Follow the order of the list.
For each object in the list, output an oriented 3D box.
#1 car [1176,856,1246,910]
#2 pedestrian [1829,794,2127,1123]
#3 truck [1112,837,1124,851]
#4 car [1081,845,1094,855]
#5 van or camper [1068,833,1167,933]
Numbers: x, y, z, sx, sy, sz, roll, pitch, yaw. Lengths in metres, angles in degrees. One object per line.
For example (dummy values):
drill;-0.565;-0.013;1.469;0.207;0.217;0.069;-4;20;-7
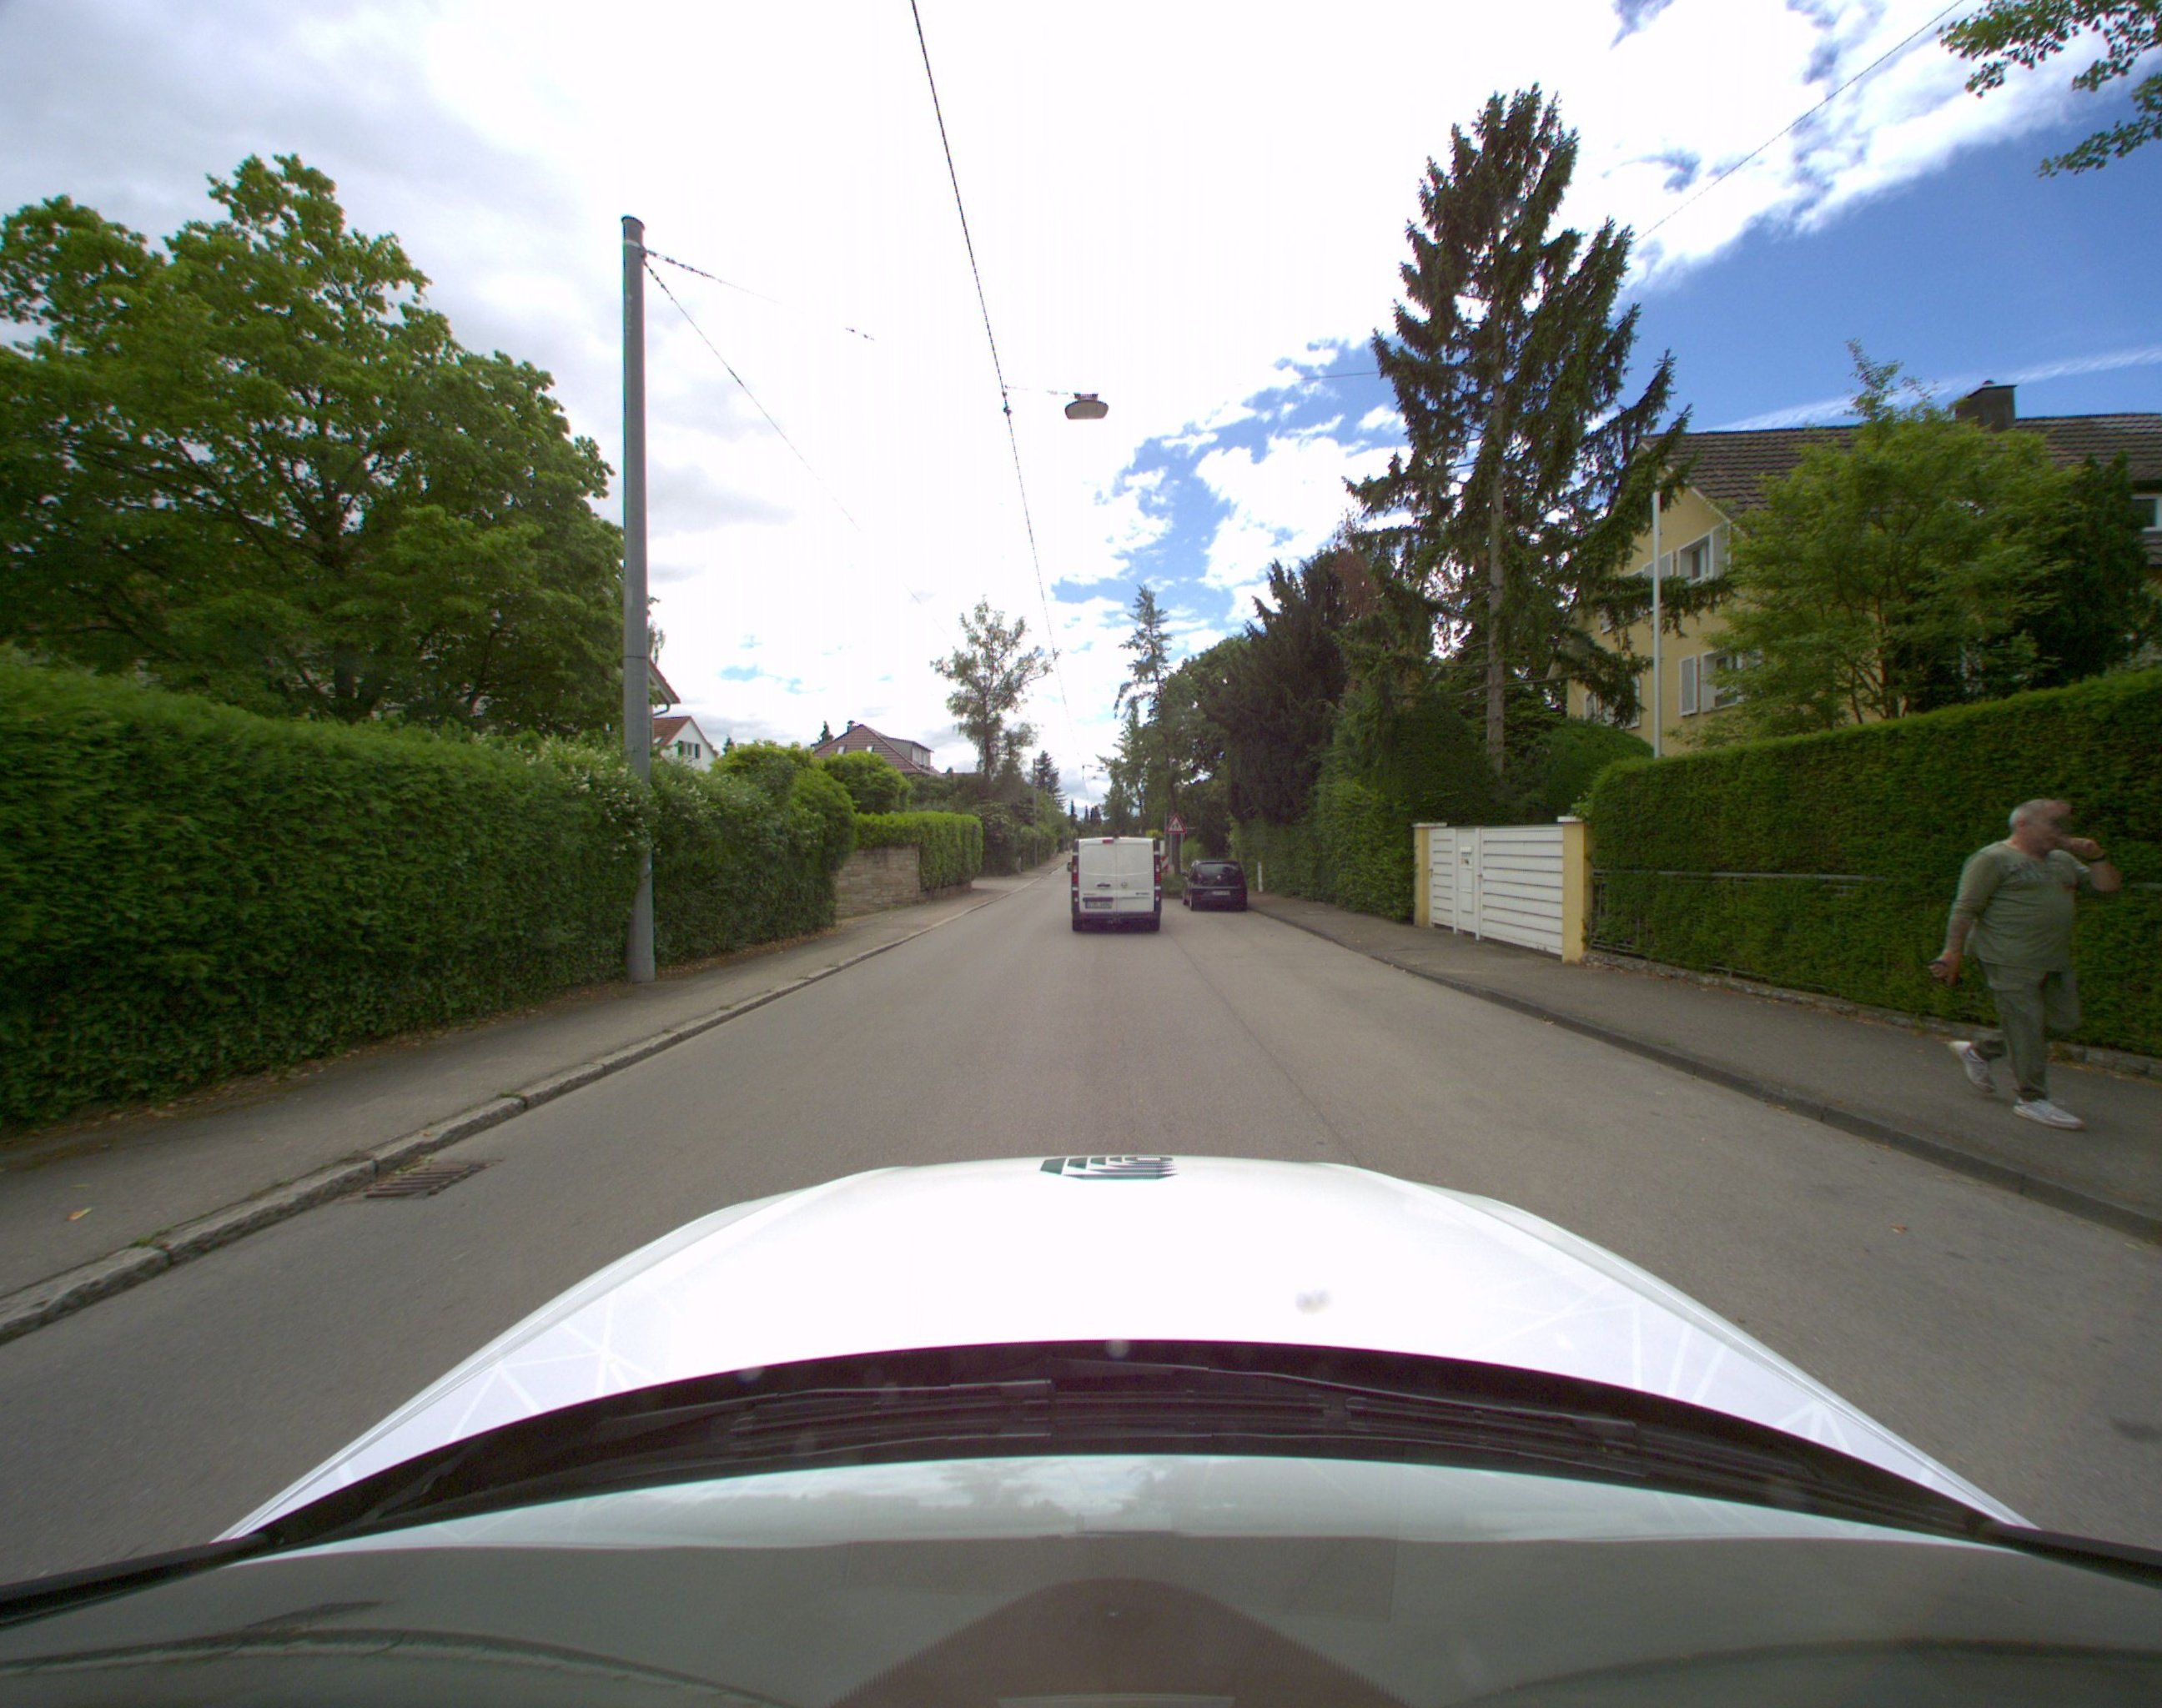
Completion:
car;3.861;0.823;24.623;1.617;1.473;3.741;0;0;1
pedestrian;5.093;0.544;4.703;0.667;1.698;0.918;-2;0;1
truck;6.971;-1.902;154.965;2.179;2.471;7.433;1;1;1
car;1.029;-0.650;130.312;1.798;1.431;4.305;-3;1;3
van or camper;0.747;0.571;18.417;1.932;1.954;4.765;1;0;1
